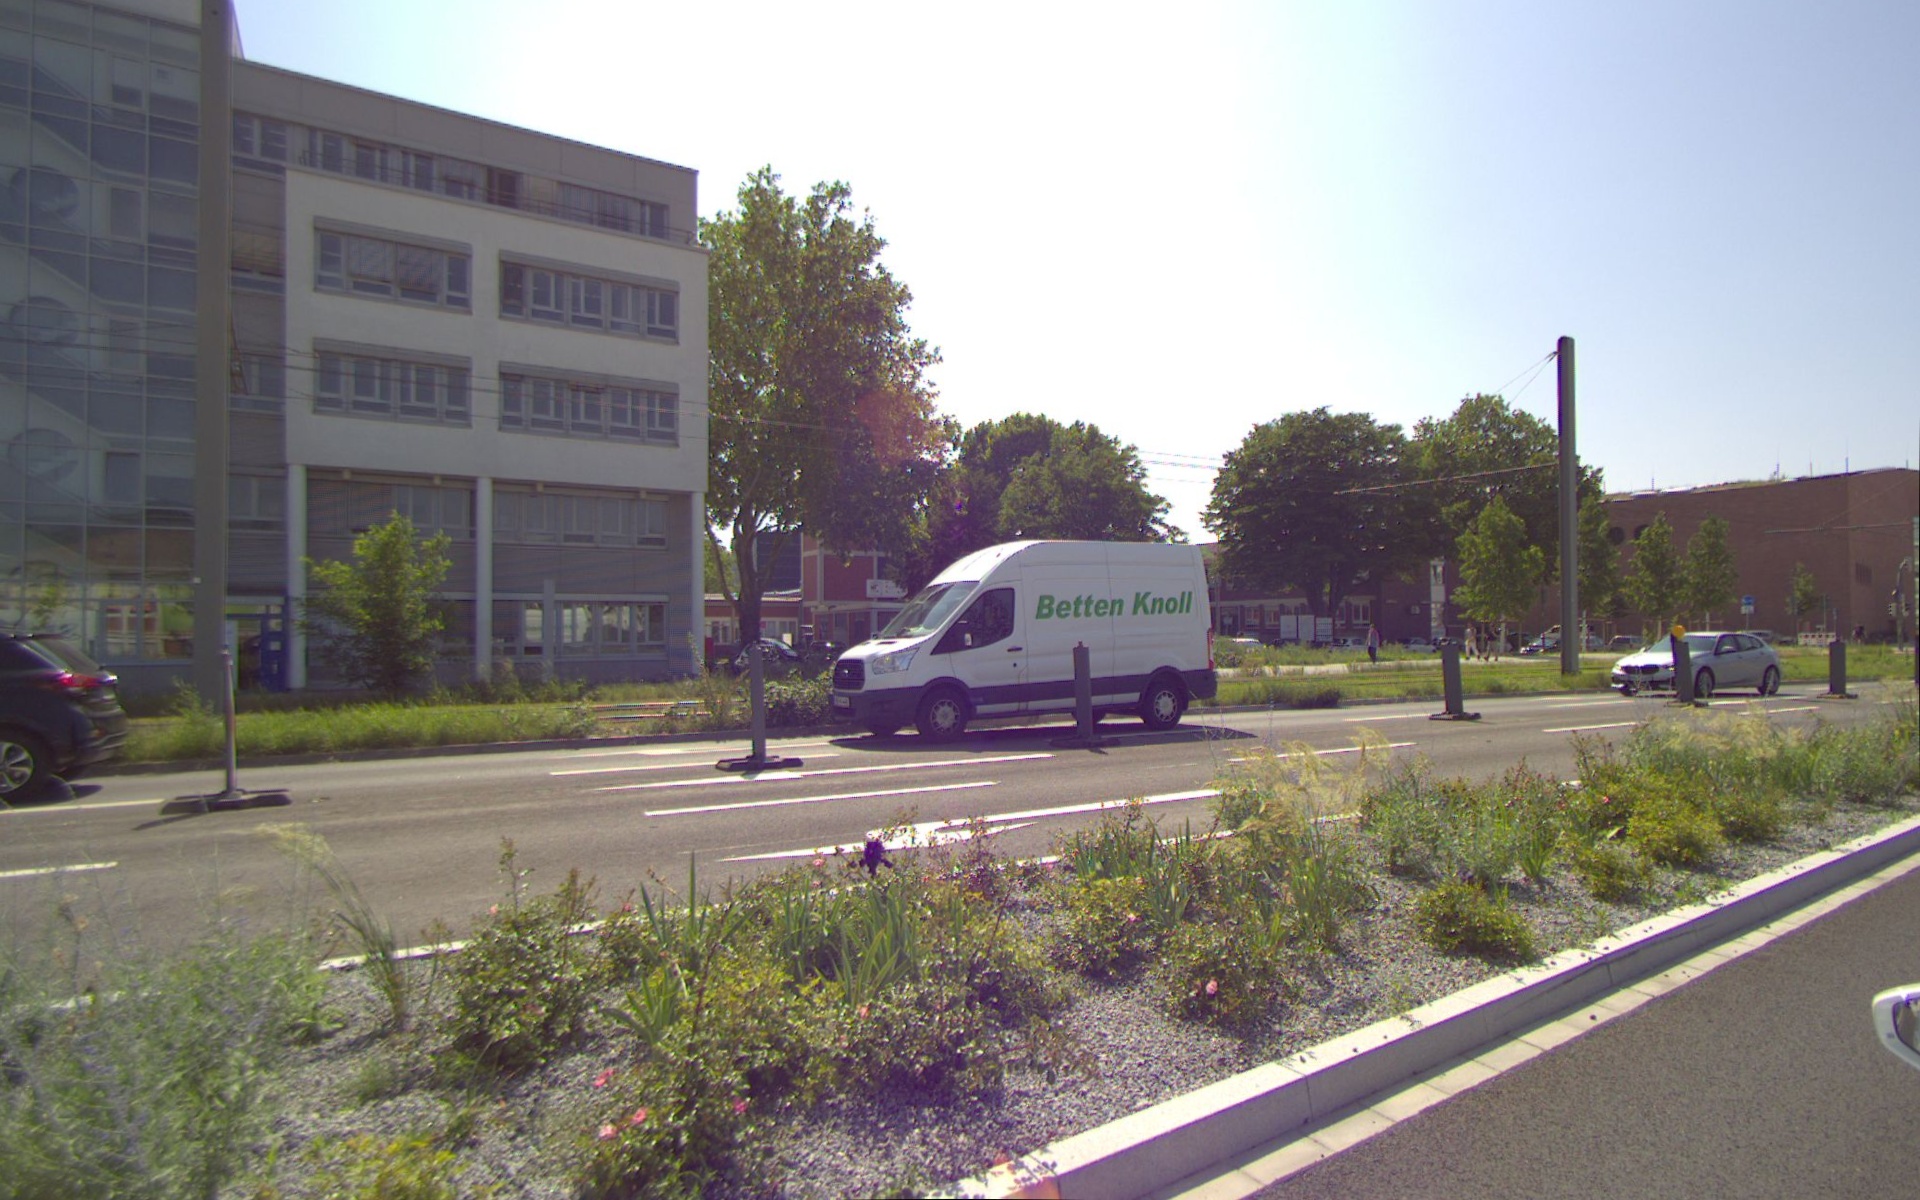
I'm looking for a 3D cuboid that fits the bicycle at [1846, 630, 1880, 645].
[{"bbox_3d":[73.984,3.057,82.291,0.535,1.228,2.033,1,-2,-41],"label":"bicycle"}]

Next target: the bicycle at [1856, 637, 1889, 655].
[{"bbox_3d":[77.474,3.892,85.277,0.535,1.472,2.033,0,-1,-41],"label":"bicycle"}]

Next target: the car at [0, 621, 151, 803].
[{"bbox_3d":[-9.342,0.933,8.119,4.144,1.476,1.538,1,-4,-31],"label":"car"}]

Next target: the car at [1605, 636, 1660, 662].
[{"bbox_3d":[48.235,3.529,72.038,4.252,1.784,1.689,2,-1,-31],"label":"car"}]

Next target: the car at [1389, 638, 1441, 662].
[{"bbox_3d":[30.441,3.320,67.176,3.750,1.476,1.528,1,-1,-35],"label":"car"}]

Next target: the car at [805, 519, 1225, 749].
[{"bbox_3d":[0.913,0.511,14.558,5.916,2.775,2.068,1,-3,-30],"label":"car"}]

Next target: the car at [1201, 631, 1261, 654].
[{"bbox_3d":[18.438,2.846,68.376,3.699,1.476,1.535,-1,-1,43],"label":"car"}]

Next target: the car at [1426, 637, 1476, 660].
[{"bbox_3d":[34.150,3.332,69.852,3.748,1.476,1.529,0,-1,-34],"label":"car"}]

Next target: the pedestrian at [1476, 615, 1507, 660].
[{"bbox_3d":[24.829,1.743,46.935,0.899,2.040,0.979,0,0,-28],"label":"pedestrian"}]

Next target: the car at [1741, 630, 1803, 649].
[{"bbox_3d":[63.477,3.058,78.526,1.555,1.388,3.460,0,-1,-31],"label":"car"}]

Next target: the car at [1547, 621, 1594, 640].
[{"bbox_3d":[59.037,2.916,97.148,1.674,1.712,3.526,0,-1,-30],"label":"car"}]

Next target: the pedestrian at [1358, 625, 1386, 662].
[{"bbox_3d":[17.843,1.877,43.505,0.815,1.597,0.812,1,-1,-26],"label":"pedestrian"}]

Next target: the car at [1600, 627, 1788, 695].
[{"bbox_3d":[17.043,1.384,23.306,4.410,1.462,1.668,1,-3,-27],"label":"car"}]

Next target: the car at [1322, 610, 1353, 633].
[{"bbox_3d":[25.761,1.450,68.425,1.515,1.476,4.263,0,-2,27],"label":"car"}]

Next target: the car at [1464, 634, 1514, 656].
[{"bbox_3d":[38.487,3.279,73.121,3.744,1.476,1.530,0,-1,-31],"label":"car"}]

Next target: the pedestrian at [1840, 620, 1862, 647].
[{"bbox_3d":[62.606,2.363,70.578,1.092,1.871,0.809,0,-1,-25],"label":"pedestrian"}]

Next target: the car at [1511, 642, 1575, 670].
[{"bbox_3d":[38.583,3.702,66.450,4.479,1.784,1.689,2,-1,-31],"label":"car"}]

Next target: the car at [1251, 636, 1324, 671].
[{"bbox_3d":[16.717,2.686,51.219,3.602,1.612,1.755,1,0,-36],"label":"car"}]

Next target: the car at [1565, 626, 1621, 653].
[{"bbox_3d":[43.257,2.713,68.671,3.894,1.784,1.690,2,-1,-31],"label":"car"}]

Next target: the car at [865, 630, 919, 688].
[{"bbox_3d":[-2.757,2.350,41.029,2.073,2.208,5.074,0,-1,-4],"label":"car"}]

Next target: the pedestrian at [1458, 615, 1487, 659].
[{"bbox_3d":[24.371,1.757,47.810,0.971,2.040,0.836,0,0,-28],"label":"pedestrian"}]
